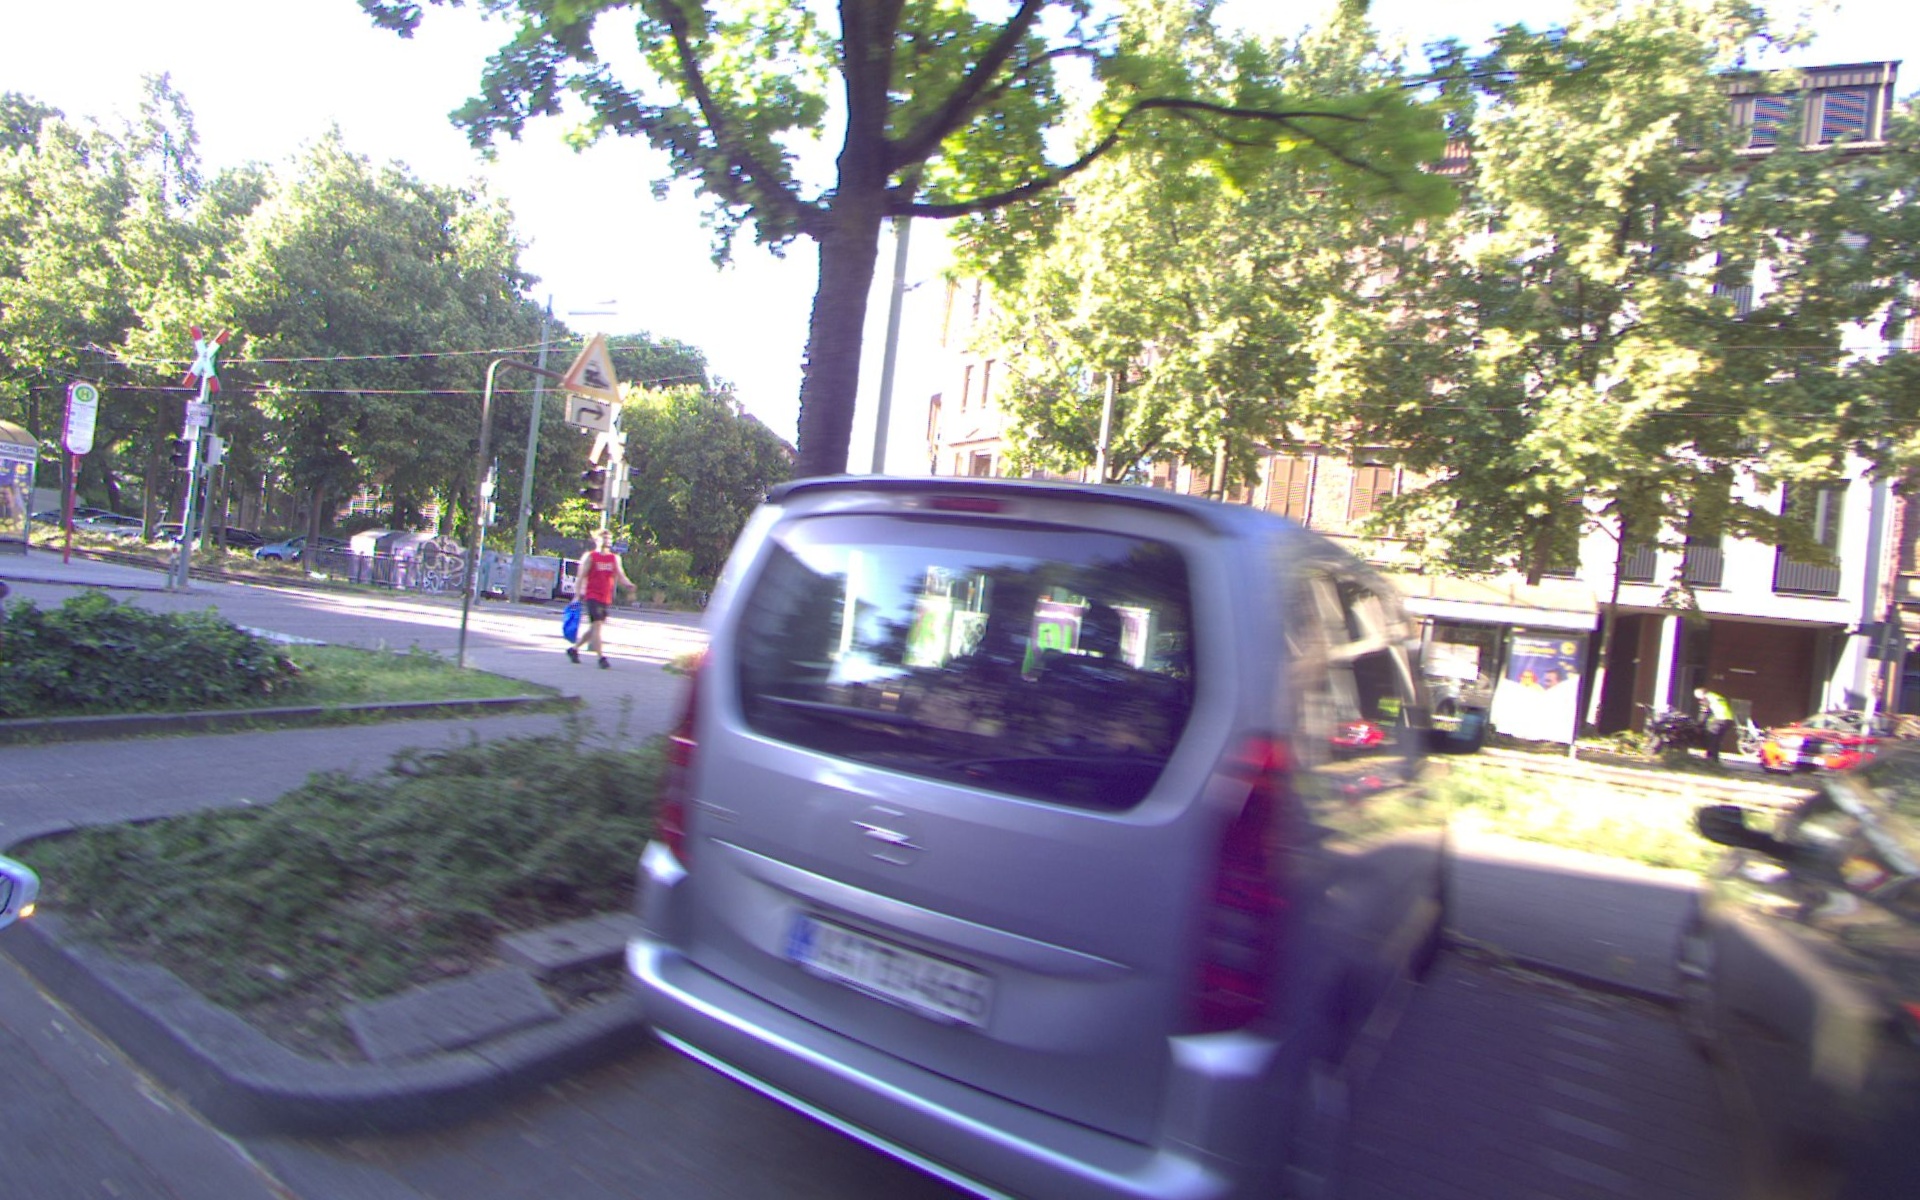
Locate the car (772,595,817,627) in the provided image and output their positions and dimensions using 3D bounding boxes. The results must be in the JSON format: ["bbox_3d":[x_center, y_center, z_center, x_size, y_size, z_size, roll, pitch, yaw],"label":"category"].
[{"bbox_3d":[-8.866,0.611,54.293,1.676,1.474,4.062,6,-1,-1],"label":"car"}]

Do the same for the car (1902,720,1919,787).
[{"bbox_3d":[25.449,3.979,23.480,4.510,1.587,1.999,6,0,23],"label":"car"}]

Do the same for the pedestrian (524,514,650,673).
[{"bbox_3d":[-4.930,-0.079,13.308,1.131,1.942,0.903,6,1,32],"label":"pedestrian"}]

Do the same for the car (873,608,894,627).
[{"bbox_3d":[-7.887,1.775,103.793,1.771,1.658,3.954,9,-1,-2],"label":"car"}]

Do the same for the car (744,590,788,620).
[{"bbox_3d":[-11.628,0.337,60.448,1.799,1.463,3.931,10,-1,-1],"label":"car"}]

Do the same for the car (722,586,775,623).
[{"bbox_3d":[-11.275,0.274,53.828,1.799,1.633,4.291,10,-1,-1],"label":"car"}]

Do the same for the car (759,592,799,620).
[{"bbox_3d":[-11.868,0.418,66.012,1.799,1.495,3.931,10,-1,-1],"label":"car"}]

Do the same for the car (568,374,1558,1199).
[{"bbox_3d":[1.077,0.718,4.042,1.919,1.937,4.542,5,-2,34],"label":"car"}]

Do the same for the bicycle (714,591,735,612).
[{"bbox_3d":[-14.234,0.098,60.868,0.587,1.114,2.628,6,-1,0],"label":"bicycle"}]

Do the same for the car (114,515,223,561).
[{"bbox_3d":[-36.824,-2.833,46.863,3.803,1.406,1.720,11,-5,-39],"label":"car"}]

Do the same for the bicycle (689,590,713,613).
[{"bbox_3d":[-14.000,0.105,54.358,0.588,1.114,2.627,6,-1,-2],"label":"bicycle"}]

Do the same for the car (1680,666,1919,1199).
[{"bbox_3d":[3.285,1.126,2.691,1.919,1.591,4.542,5,-2,34],"label":"car"}]

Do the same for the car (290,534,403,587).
[{"bbox_3d":[-24.124,-1.534,39.581,3.589,1.463,1.593,10,-3,-35],"label":"car"}]

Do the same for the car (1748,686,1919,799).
[{"bbox_3d":[17.718,2.807,19.628,4.499,1.743,1.916,7,0,-28],"label":"car"}]

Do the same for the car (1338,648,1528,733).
[{"bbox_3d":[10.679,2.058,22.597,4.513,1.505,1.910,7,0,-37],"label":"car"}]

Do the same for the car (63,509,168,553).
[{"bbox_3d":[-41.951,-3.379,50.089,3.803,1.436,1.720,11,-5,-39],"label":"car"}]

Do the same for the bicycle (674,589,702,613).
[{"bbox_3d":[-13.959,0.071,51.639,0.587,1.114,2.628,6,-1,0],"label":"bicycle"}]

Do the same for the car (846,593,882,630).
[{"bbox_3d":[-6.223,0.775,65.617,1.771,2.096,3.954,9,-1,-2],"label":"car"}]

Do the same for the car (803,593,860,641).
[{"bbox_3d":[-5.568,0.753,44.174,1.888,1.675,4.187,10,-1,-2],"label":"car"}]

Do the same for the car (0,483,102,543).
[{"bbox_3d":[-51.642,-4.910,56.688,4.451,2.502,1.808,10,-4,-28],"label":"car"}]

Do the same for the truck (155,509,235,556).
[{"bbox_3d":[-46.987,-4.160,61.777,4.312,2.381,2.369,6,-1,32],"label":"truck"}]

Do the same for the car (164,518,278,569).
[{"bbox_3d":[-32.246,-2.409,43.940,3.803,1.512,1.720,11,-5,-39],"label":"car"}]

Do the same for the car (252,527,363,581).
[{"bbox_3d":[-26.614,-1.859,41.109,3.589,1.579,1.593,10,-3,-35],"label":"car"}]

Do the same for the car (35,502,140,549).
[{"bbox_3d":[-44.404,-3.744,51.297,3.803,1.604,1.720,11,-5,-39],"label":"car"}]

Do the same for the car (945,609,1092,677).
[{"bbox_3d":[1.967,1.439,33.922,4.417,1.667,1.876,6,-3,24],"label":"car"}]

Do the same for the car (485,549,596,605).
[{"bbox_3d":[-19.211,-1.052,46.049,4.575,2.028,1.949,6,0,24],"label":"car"}]

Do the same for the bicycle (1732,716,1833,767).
[{"bbox_3d":[23.617,4.047,28.932,0.677,1.130,2.074,6,-1,-39],"label":"bicycle"}]
